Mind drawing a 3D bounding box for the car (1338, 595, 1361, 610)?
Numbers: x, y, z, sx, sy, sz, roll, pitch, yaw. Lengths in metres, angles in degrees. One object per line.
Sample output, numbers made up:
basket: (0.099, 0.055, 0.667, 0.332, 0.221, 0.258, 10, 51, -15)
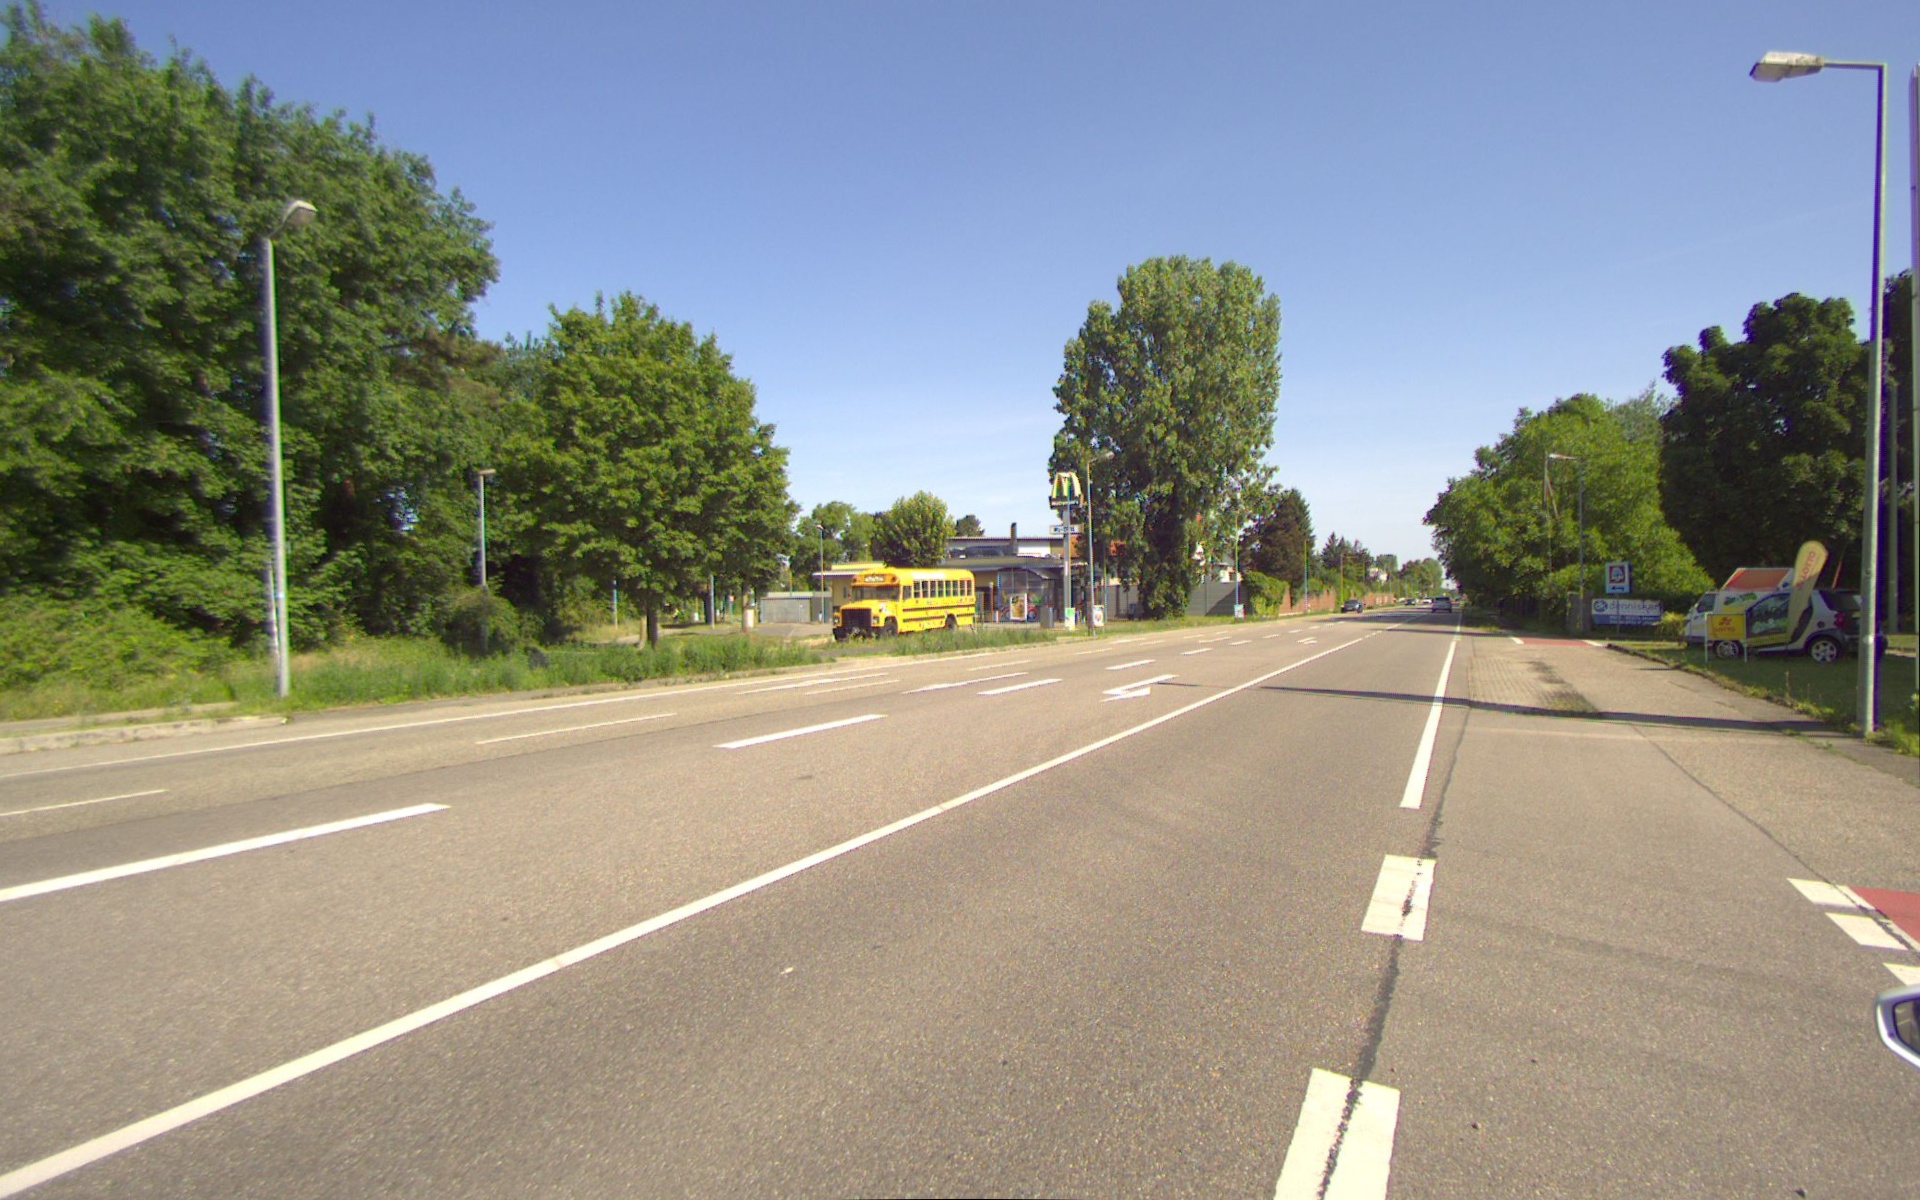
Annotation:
car: (42.637, 0.300, 109.921, 1.819, 1.515, 4.905, -3, -2, 27)

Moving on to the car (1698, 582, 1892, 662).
car: (17.296, 0.454, 20.925, 1.553, 1.550, 2.720, 1, -1, -18)

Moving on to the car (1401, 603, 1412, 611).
car: (91.438, 1.398, 205.828, 1.819, 1.561, 4.219, 1, 0, 27)

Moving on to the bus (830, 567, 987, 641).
bus: (-1.851, 0.153, 41.633, 2.539, 2.715, 8.988, 1, 0, 25)

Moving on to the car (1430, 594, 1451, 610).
car: (49.277, 0.239, 103.069, 1.819, 1.561, 4.219, 1, 0, 27)

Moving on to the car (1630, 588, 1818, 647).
car: (21.579, 0.468, 28.549, 3.921, 1.550, 1.585, 1, 0, 21)
